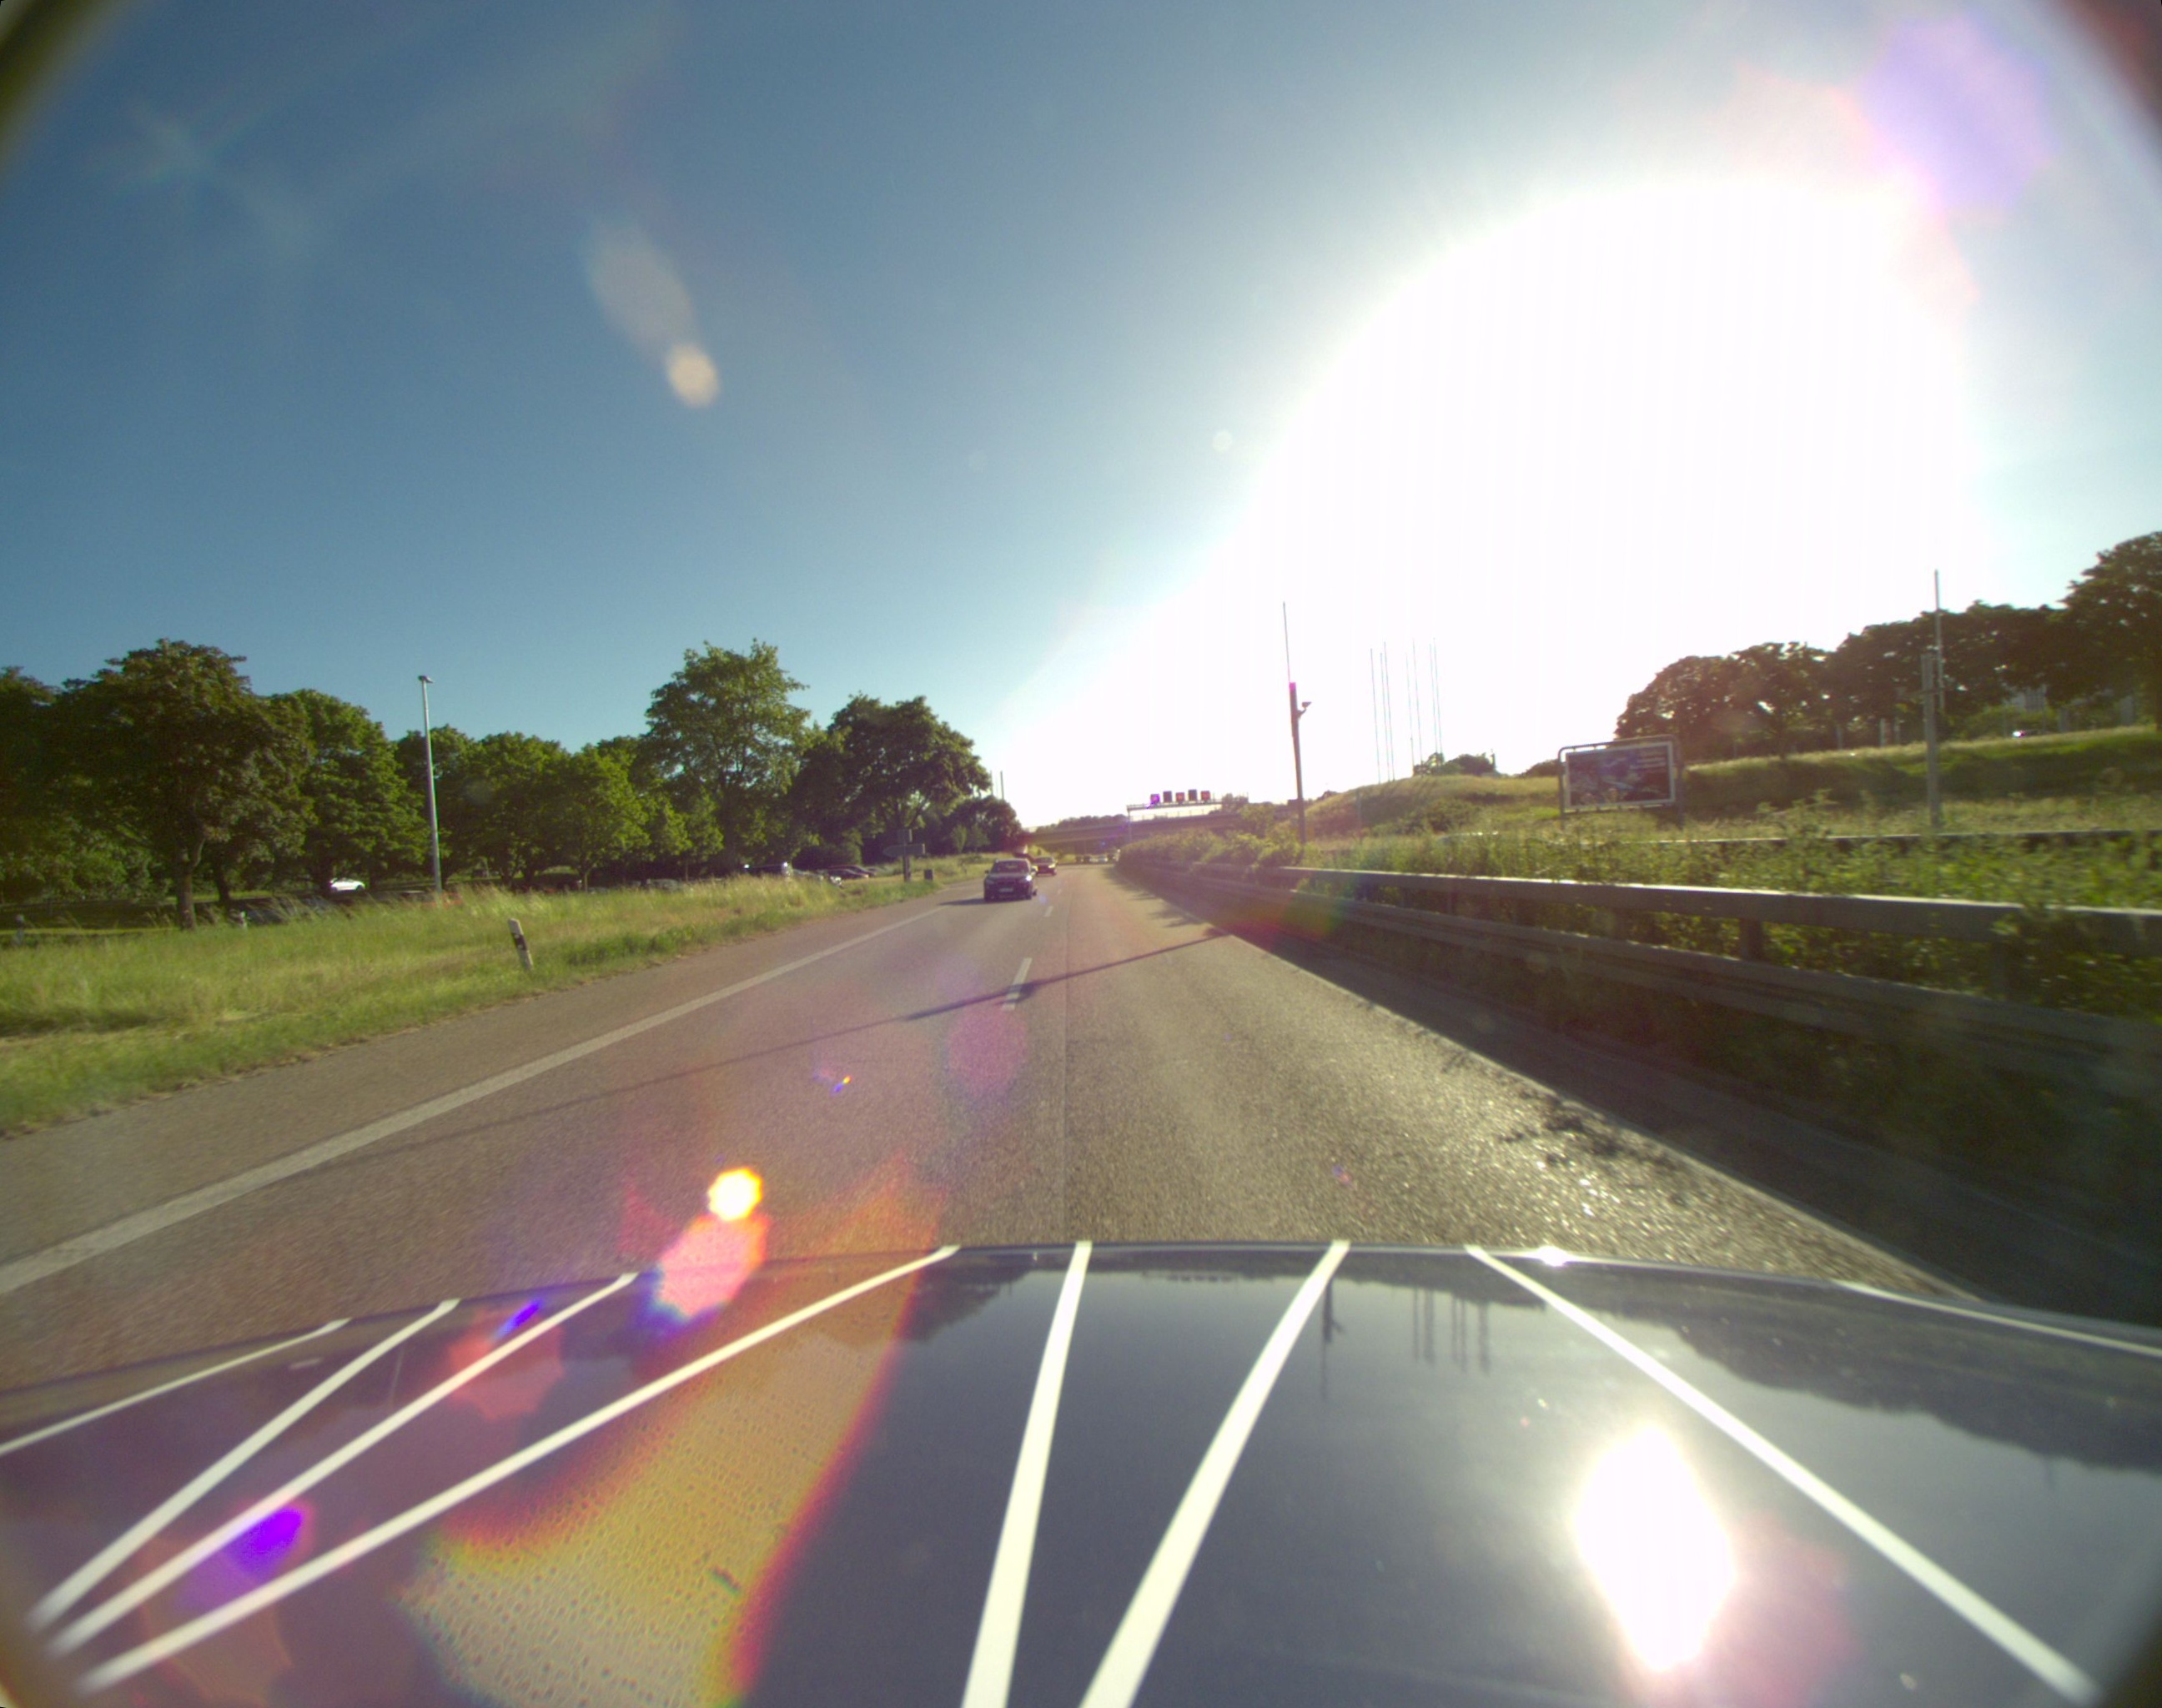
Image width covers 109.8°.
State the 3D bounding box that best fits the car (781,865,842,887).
[{"bbox_3d":[-22.293,1.791,62.978,4.222,1.303,1.960,-5,1,0],"label":"car"}]

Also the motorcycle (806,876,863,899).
[{"bbox_3d":[-13.569,1.849,41.901,2.841,1.063,0.817,-3,1,-45],"label":"motorcycle"}]

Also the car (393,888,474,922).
[{"bbox_3d":[-34.919,2.725,41.115,1.704,1.454,4.143,-4,1,-16],"label":"car"}]

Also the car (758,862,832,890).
[{"bbox_3d":[-22.575,1.711,60.106,4.868,1.669,2.223,-5,1,-3],"label":"car"}]

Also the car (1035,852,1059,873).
[{"bbox_3d":[-2.747,0.680,62.738,1.760,1.564,4.519,-2,1,0],"label":"car"}]

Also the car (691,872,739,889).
[{"bbox_3d":[-39.421,2.842,81.834,4.121,1.416,1.865,-3,4,-2],"label":"car"}]

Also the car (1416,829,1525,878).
[{"bbox_3d":[13.827,-0.017,27.237,1.846,1.552,4.000,-2,0,1],"label":"car"}]

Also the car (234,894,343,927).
[{"bbox_3d":[-48.690,3.453,46.792,4.232,1.551,1.784,-4,1,-31],"label":"car"}]

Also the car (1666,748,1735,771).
[{"bbox_3d":[74.345,-11.369,91.326,2.551,2.002,6.087,-2,0,-17],"label":"car"}]

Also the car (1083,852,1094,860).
[{"bbox_3d":[1.378,0.311,139.366,1.682,1.412,3.669,-3,1,2],"label":"car"}]

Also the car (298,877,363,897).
[{"bbox_3d":[-71.897,3.144,72.864,1.907,1.567,4.002,-3,0,7],"label":"car"}]

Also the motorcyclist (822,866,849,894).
[{"bbox_3d":[-13.542,1.432,41.934,1.095,1.439,0.817,-4,1,-45],"label":"motorcyclist"}]

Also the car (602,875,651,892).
[{"bbox_3d":[-49.851,3.227,83.440,4.121,1.416,1.865,-3,4,-2],"label":"car"}]

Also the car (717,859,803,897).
[{"bbox_3d":[-22.589,1.655,53.543,5.043,2.124,2.094,-5,2,8],"label":"car"}]

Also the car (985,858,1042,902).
[{"bbox_3d":[-2.552,0.934,29.600,1.703,1.497,4.579,-2,0,1],"label":"car"}]

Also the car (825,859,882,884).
[{"bbox_3d":[-22.010,1.652,73.707,4.802,2.012,2.025,-3,4,-2],"label":"car"}]

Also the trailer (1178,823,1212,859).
[{"bbox_3d":[14.260,-1.575,95.495,2.655,4.099,10.699,-3,0,1],"label":"trailer"}]

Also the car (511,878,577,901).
[{"bbox_3d":[-50.537,3.315,71.534,4.597,1.766,1.945,-2,2,-6],"label":"car"}]

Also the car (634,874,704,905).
[{"bbox_3d":[-25.278,2.206,46.610,4.216,1.551,1.790,-5,2,32],"label":"car"}]

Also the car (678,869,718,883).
[{"bbox_3d":[-49.216,2.785,97.640,4.121,1.416,1.865,-3,4,-2],"label":"car"}]

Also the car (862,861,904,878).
[{"bbox_3d":[-21.336,1.654,81.876,3.942,1.452,1.923,-3,4,-2],"label":"car"}]

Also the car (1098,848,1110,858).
[{"bbox_3d":[3.703,-0.182,121.814,1.725,1.412,3.669,-3,1,2],"label":"car"}]

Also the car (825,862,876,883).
[{"bbox_3d":[-21.624,1.753,71.291,4.017,1.492,1.960,-5,1,0],"label":"car"}]

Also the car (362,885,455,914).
[{"bbox_3d":[-51.169,3.465,57.905,5.204,1.855,1.957,-2,2,0],"label":"car"}]

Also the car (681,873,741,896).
[{"bbox_3d":[-32.901,2.694,67.662,4.295,1.502,1.739,-5,2,-1],"label":"car"}]

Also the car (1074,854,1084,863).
[{"bbox_3d":[-0.386,0.931,159.650,1.867,1.681,4.000,-2,0,1],"label":"car"}]

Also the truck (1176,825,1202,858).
[{"bbox_3d":[14.394,-1.611,101.717,2.655,4.099,5.561,-3,0,1],"label":"truck"}]

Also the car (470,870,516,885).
[{"bbox_3d":[-70.736,2.832,91.504,1.907,1.567,4.003,-3,0,11],"label":"car"}]

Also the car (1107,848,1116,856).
[{"bbox_3d":[6.123,-0.412,153.928,1.682,1.412,3.670,-3,1,3],"label":"car"}]
